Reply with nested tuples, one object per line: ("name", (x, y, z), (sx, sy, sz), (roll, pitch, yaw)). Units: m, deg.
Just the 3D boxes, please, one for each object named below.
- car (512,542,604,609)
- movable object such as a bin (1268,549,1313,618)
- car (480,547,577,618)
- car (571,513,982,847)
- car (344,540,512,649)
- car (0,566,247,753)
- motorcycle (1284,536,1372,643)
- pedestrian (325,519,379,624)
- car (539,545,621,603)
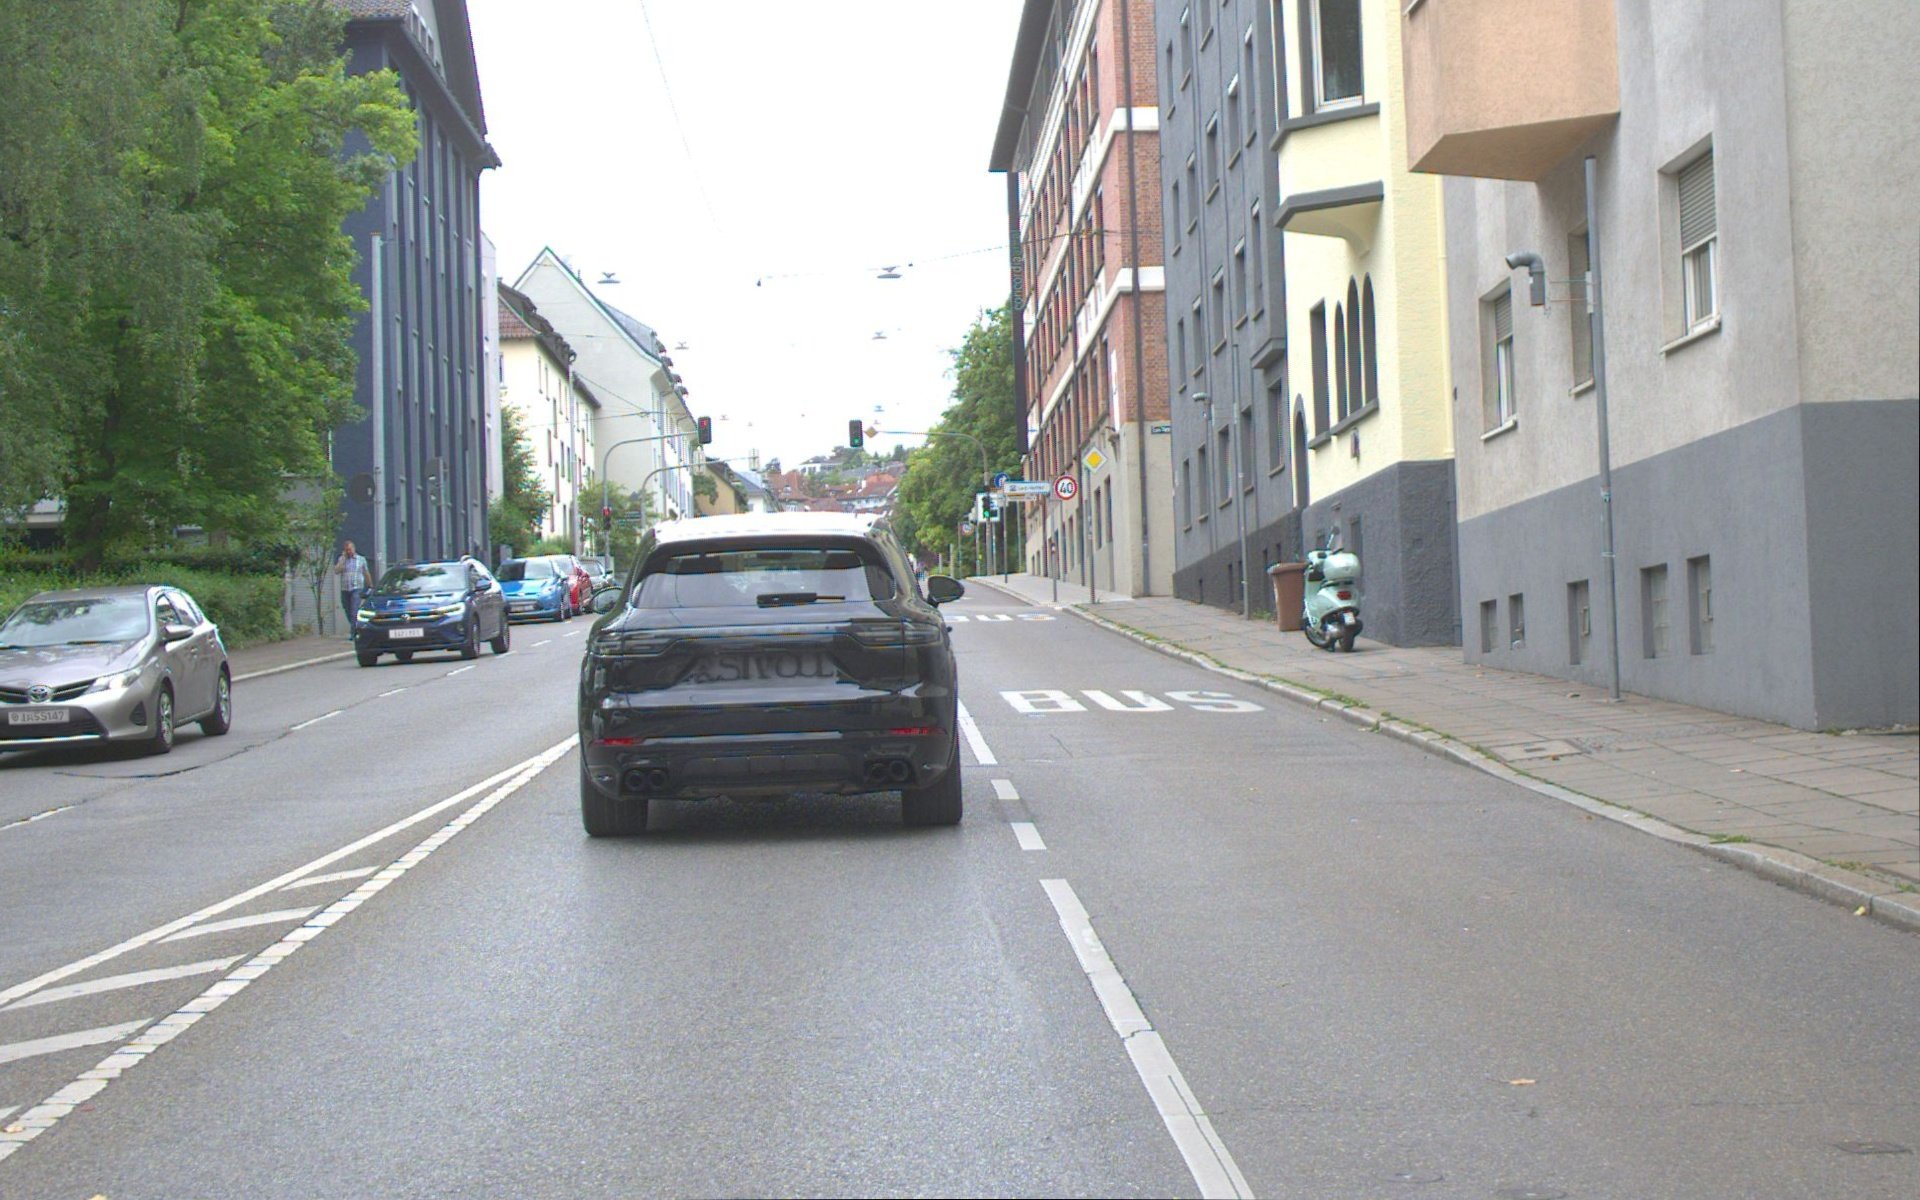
("car", (-9.763, -0.610, 83.713), (1.714, 1.451, 3.989), (-4, 1, 0))
("movable object such as a bin", (4.492, -0.223, 46.699), (0.474, 0.889, 0.517), (-5, 1, -2))
("car", (-9.728, -0.422, 77.734), (1.714, 1.419, 3.990), (-4, 2, -1))
("car", (-1.103, 0.357, 19.156), (2.023, 1.636, 4.357), (0, 1, -5))
("car", (-7.912, -0.121, 51.488), (1.839, 1.443, 4.311), (-3, 1, -1))
("car", (-7.736, 0.489, 30.710), (1.839, 1.443, 4.311), (-3, 1, -1))
("motorcycle", (4.265, -0.140, 39.985), (0.537, 1.152, 2.227), (-5, 2, -4))
("pedestrian", (-11.407, -0.536, 64.536), (0.882, 1.943, 0.868), (0, 1, -2))
("car", (-9.884, -0.696, 89.624), (1.714, 1.336, 3.905), (-4, 1, -1))
